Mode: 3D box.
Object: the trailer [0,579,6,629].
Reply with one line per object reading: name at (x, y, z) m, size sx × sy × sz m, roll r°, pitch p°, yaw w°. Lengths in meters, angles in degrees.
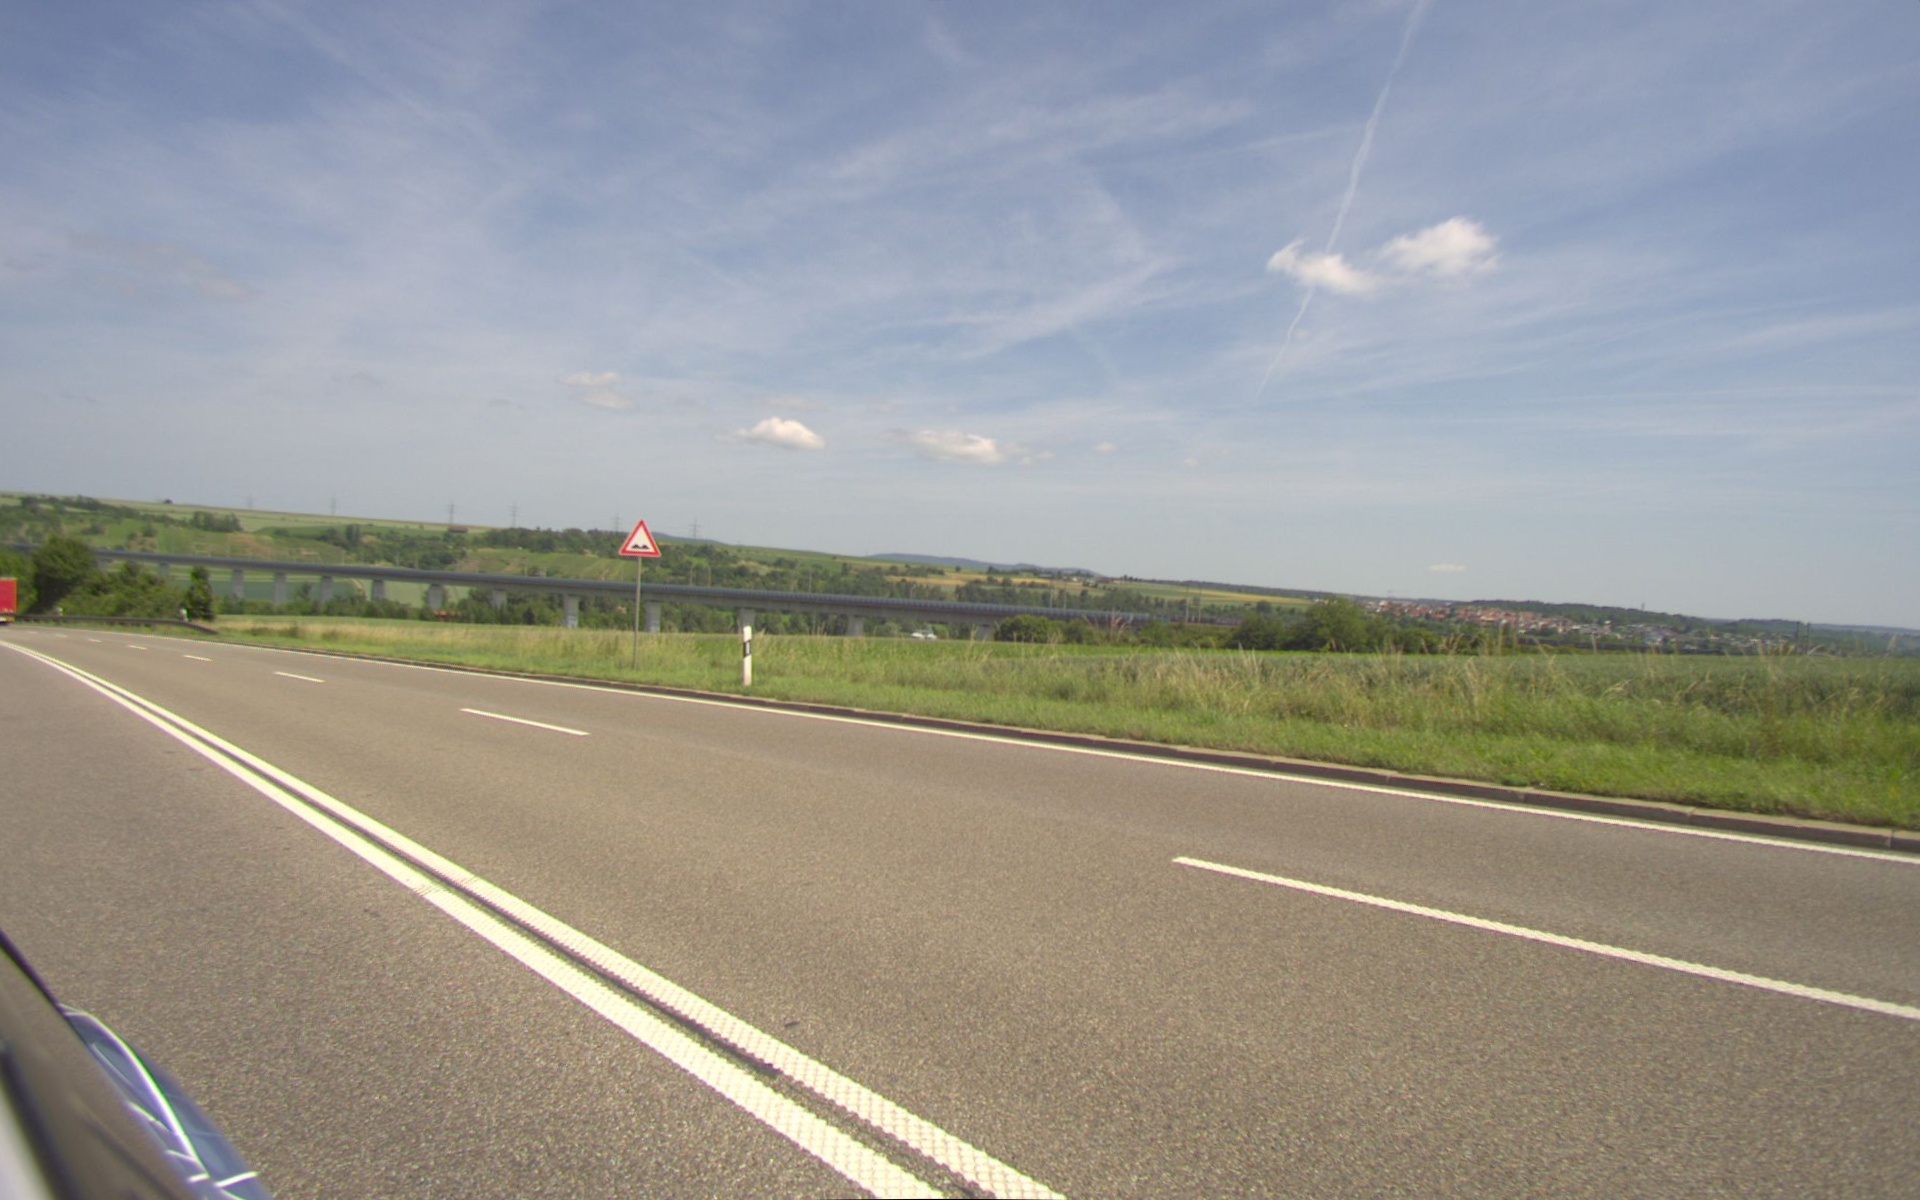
trailer at (-85.548, 0.378, 87.752) m, size 13.571 × 4.133 × 2.519 m, roll -1°, pitch -1°, yaw 40°
